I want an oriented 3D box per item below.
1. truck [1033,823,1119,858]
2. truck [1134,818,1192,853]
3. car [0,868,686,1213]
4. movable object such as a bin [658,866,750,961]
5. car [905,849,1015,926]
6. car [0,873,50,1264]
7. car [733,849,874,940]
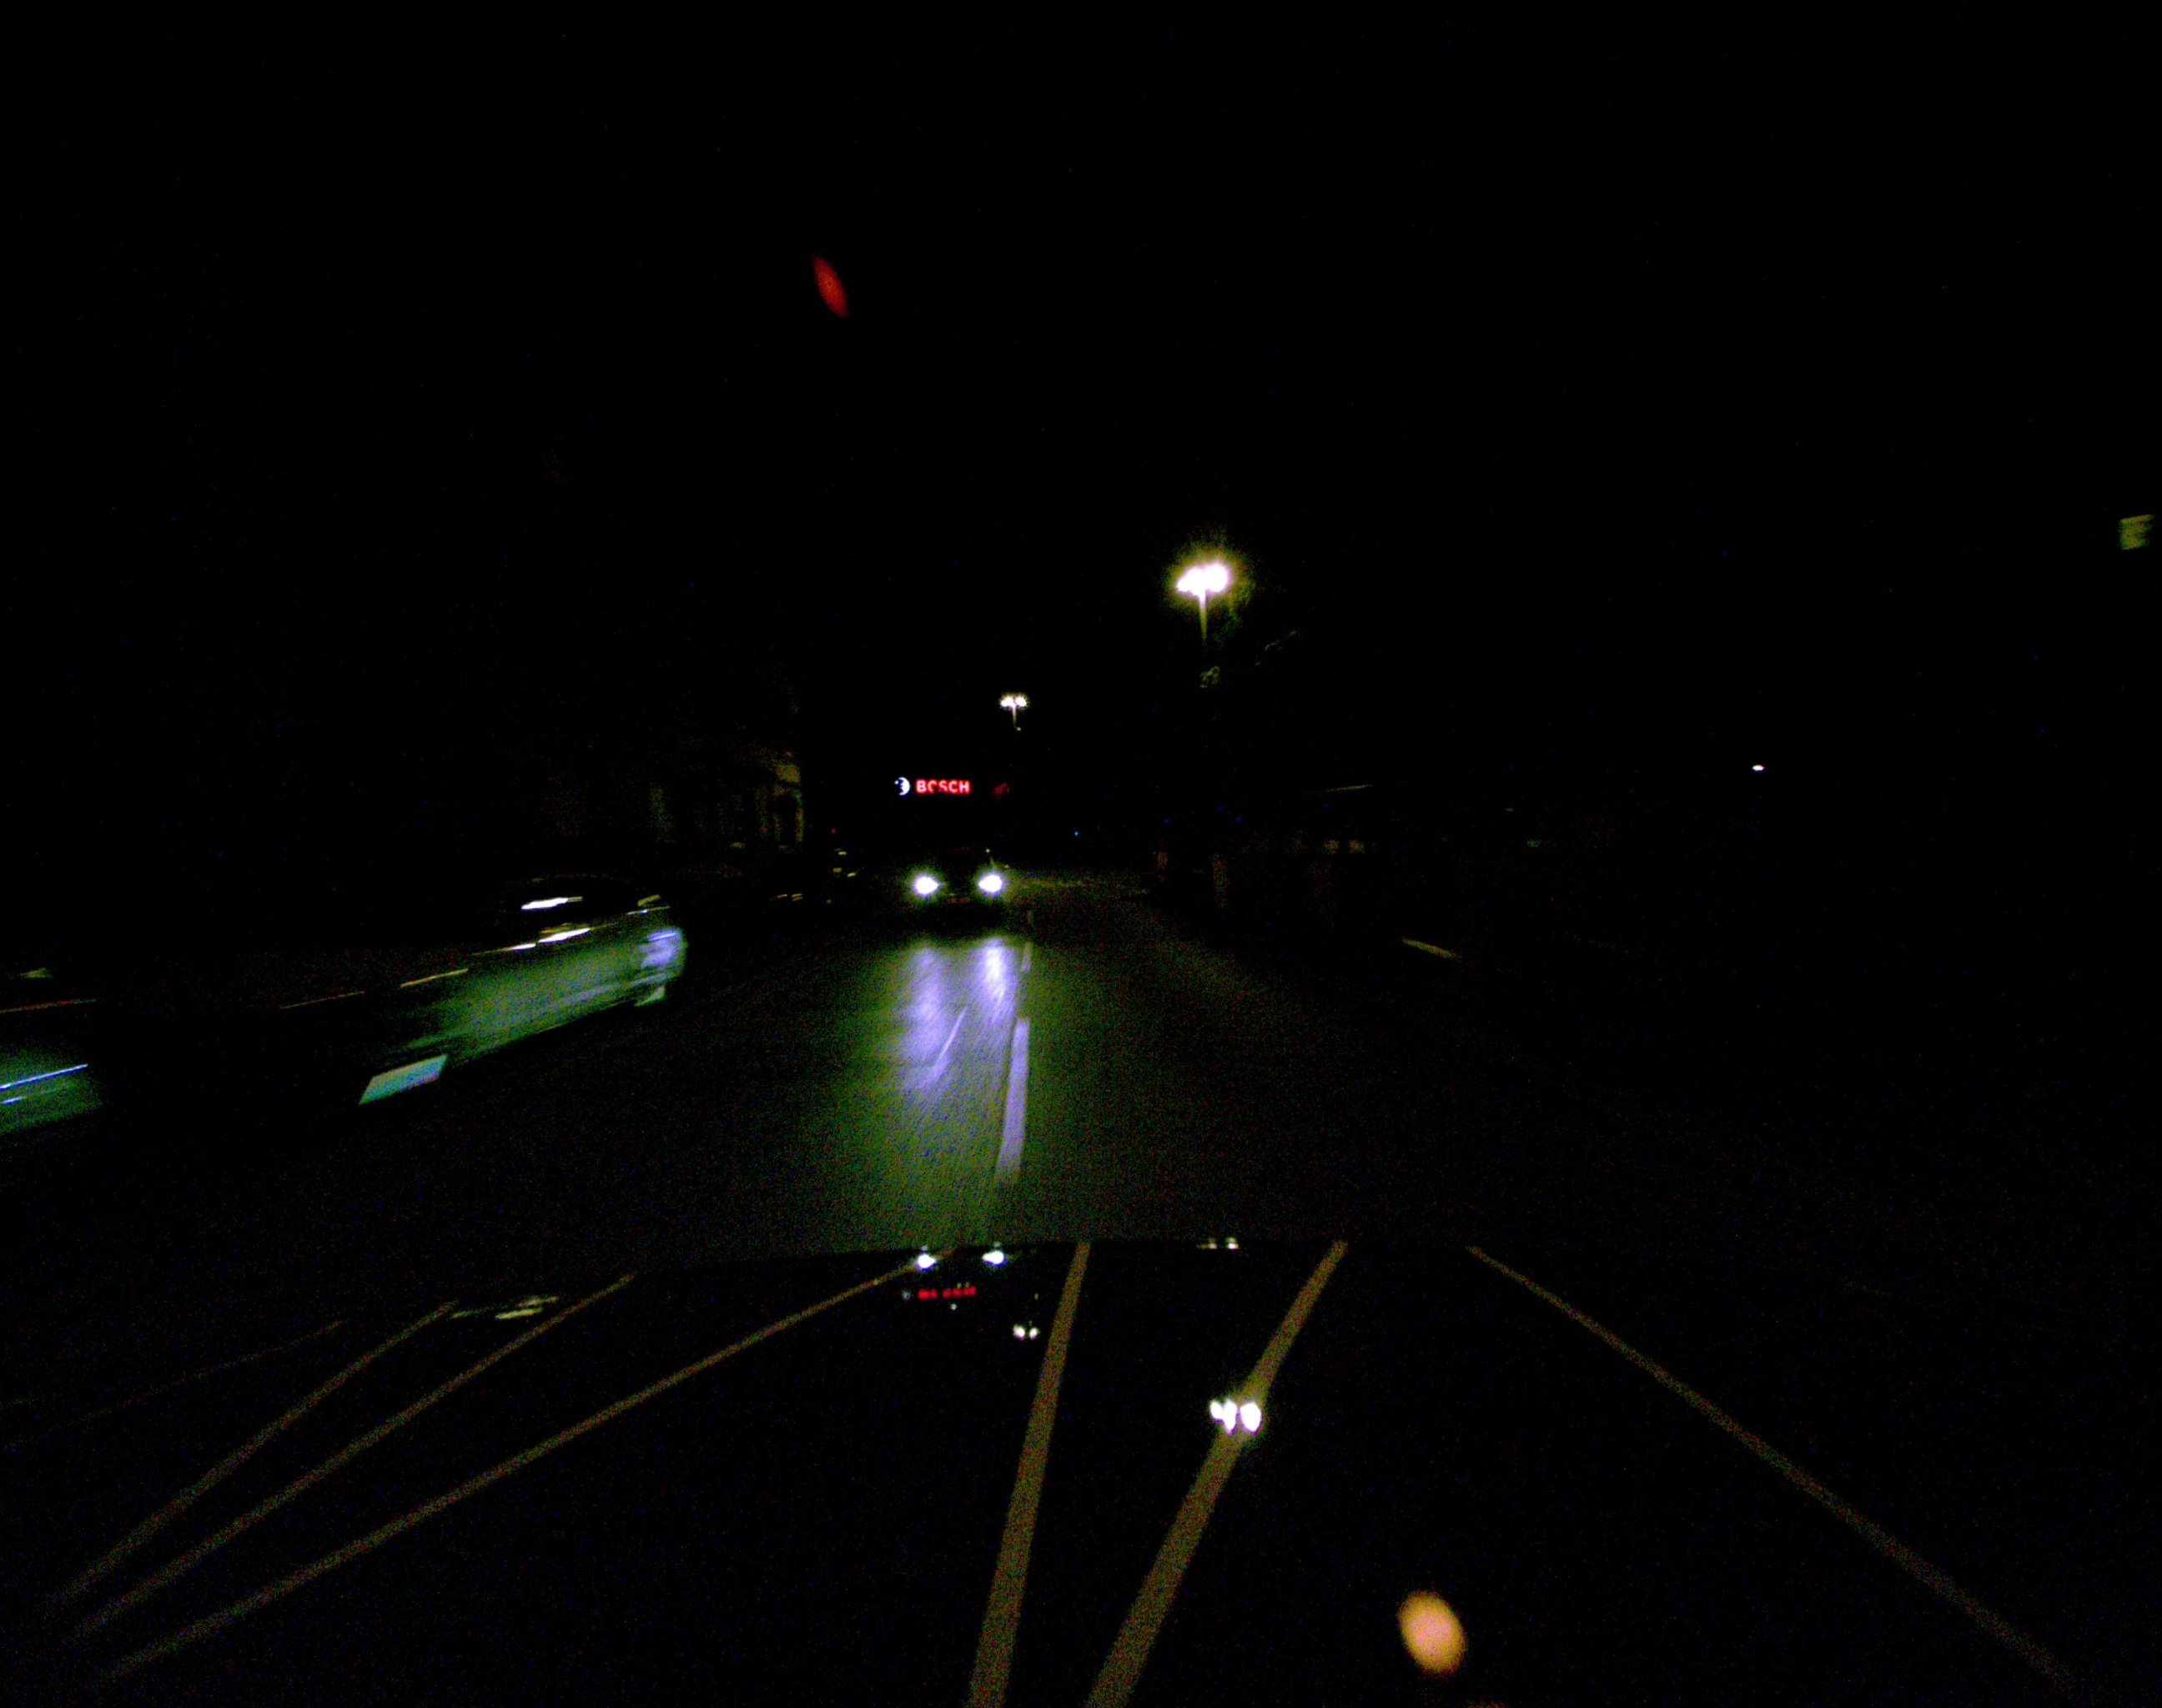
[{"bbox_3d":[-0.565,-1.529,85.148,9.342,3.701,2.001,-1,2,13],"label":"truck"},{"bbox_3d":[9.062,-1.984,83.641,6.197,3.673,2.403,-1,2,9],"label":"truck"},{"bbox_3d":[-5.174,0.956,6.103,1.749,1.500,4.831,0,1,-4],"label":"car"},{"bbox_3d":[-6.125,0.941,12.439,0.940,1.424,1.337,1,1,-6],"label":"movable object such as a bin"},{"bbox_3d":[-2.705,0.692,17.949,1.999,1.607,3.999,0,1,-1],"label":"car"},{"bbox_3d":[-5.057,0.889,1.007,1.749,1.557,4.208,0,1,-4],"label":"car"},{"bbox_3d":[-5.812,0.762,16.485,1.749,1.673,4.256,0,1,-4],"label":"car"}]
